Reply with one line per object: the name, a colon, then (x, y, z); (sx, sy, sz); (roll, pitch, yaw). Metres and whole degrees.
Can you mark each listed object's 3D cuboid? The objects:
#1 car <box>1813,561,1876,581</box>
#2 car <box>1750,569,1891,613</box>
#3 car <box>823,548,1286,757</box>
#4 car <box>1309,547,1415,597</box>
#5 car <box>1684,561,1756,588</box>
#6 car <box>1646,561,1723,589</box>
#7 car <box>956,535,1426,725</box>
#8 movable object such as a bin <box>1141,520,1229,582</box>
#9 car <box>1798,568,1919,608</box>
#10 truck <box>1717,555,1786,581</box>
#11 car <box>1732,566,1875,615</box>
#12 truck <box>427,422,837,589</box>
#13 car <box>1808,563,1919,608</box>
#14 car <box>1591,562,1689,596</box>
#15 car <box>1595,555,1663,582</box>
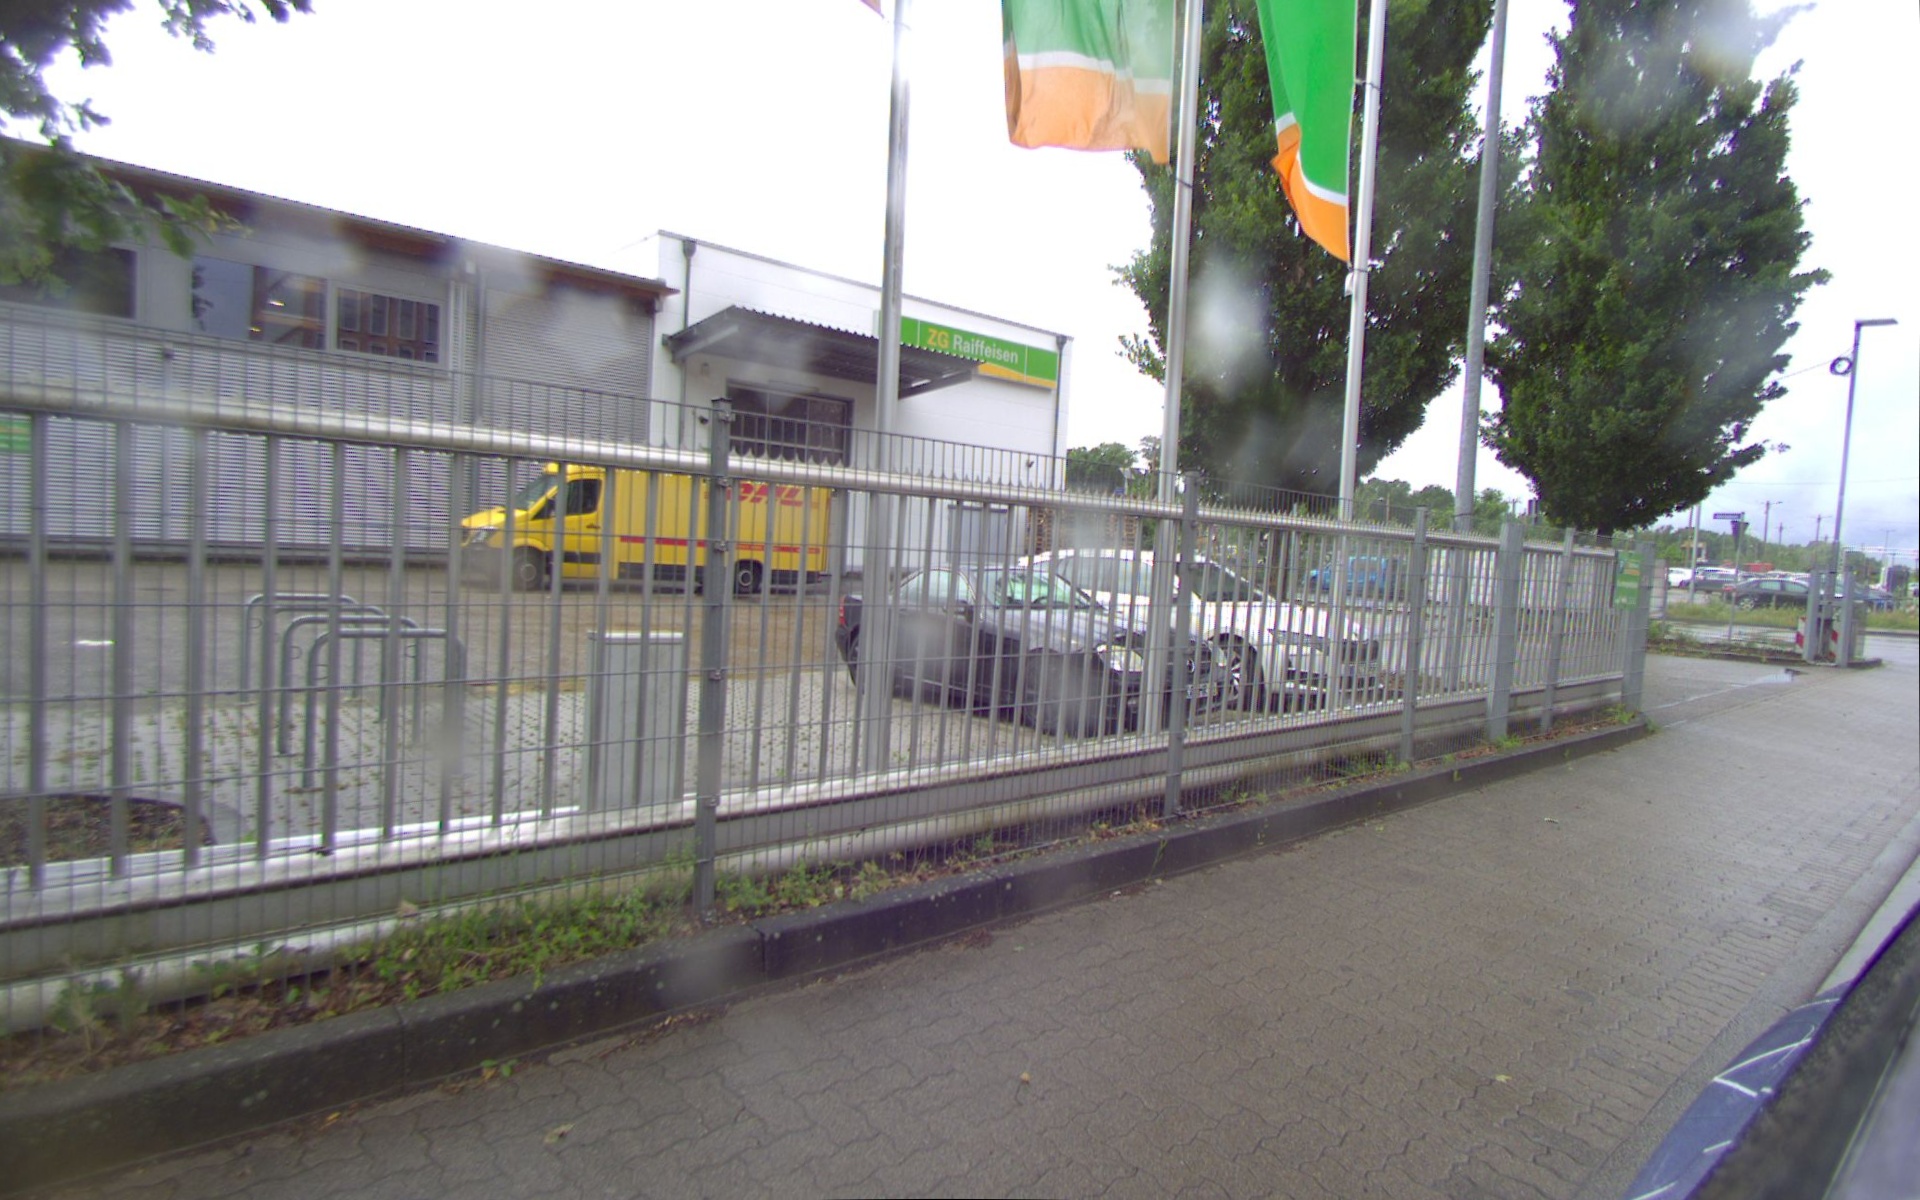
car: (81.622, -2.679, 93.436); (1.746, 1.506, 3.967); (-2, 7, -38)
car: (36.071, -0.418, 42.510); (1.857, 1.527, 4.193); (-2, 5, -39)
car: (0.596, 0.273, 8.753); (1.591, 1.271, 3.947); (0, 4, -41)
car: (18.047, -1.277, 45.565); (1.800, 1.945, 3.996); (1, 4, -41)
car: (57.709, -1.975, 76.875); (1.754, 1.601, 3.919); (-1, 8, -37)
car: (49.748, -1.763, 69.538); (1.892, 1.500, 3.845); (-1, 8, -37)
car: (2.223, 0.142, 10.931); (1.858, 1.480, 4.713); (0, 4, -41)
movable object such as a bin: (11.792, -2.579, 53.199); (1.965, 3.028, 3.997); (0, 4, -41)
car: (40.896, -0.585, 45.789); (1.787, 1.534, 4.307); (-2, 5, -39)
truck: (84.249, -3.401, 107.824); (2.115, 2.395, 5.303); (0, 6, -40)
car: (33.848, -0.429, 40.701); (4.219, 1.416, 1.862); (10, 8, 42)
truck: (-6.221, -1.718, 19.968); (7.279, 2.690, 2.310); (0, 6, -38)
car: (43.659, -0.714, 48.060); (2.088, 1.755, 4.700); (-1, 6, -36)
car: (41.296, -1.298, 61.535); (4.623, 1.736, 1.987); (6, 6, 44)
car: (53.568, -2.557, 81.071); (1.801, 1.677, 4.071); (-2, 9, -42)
